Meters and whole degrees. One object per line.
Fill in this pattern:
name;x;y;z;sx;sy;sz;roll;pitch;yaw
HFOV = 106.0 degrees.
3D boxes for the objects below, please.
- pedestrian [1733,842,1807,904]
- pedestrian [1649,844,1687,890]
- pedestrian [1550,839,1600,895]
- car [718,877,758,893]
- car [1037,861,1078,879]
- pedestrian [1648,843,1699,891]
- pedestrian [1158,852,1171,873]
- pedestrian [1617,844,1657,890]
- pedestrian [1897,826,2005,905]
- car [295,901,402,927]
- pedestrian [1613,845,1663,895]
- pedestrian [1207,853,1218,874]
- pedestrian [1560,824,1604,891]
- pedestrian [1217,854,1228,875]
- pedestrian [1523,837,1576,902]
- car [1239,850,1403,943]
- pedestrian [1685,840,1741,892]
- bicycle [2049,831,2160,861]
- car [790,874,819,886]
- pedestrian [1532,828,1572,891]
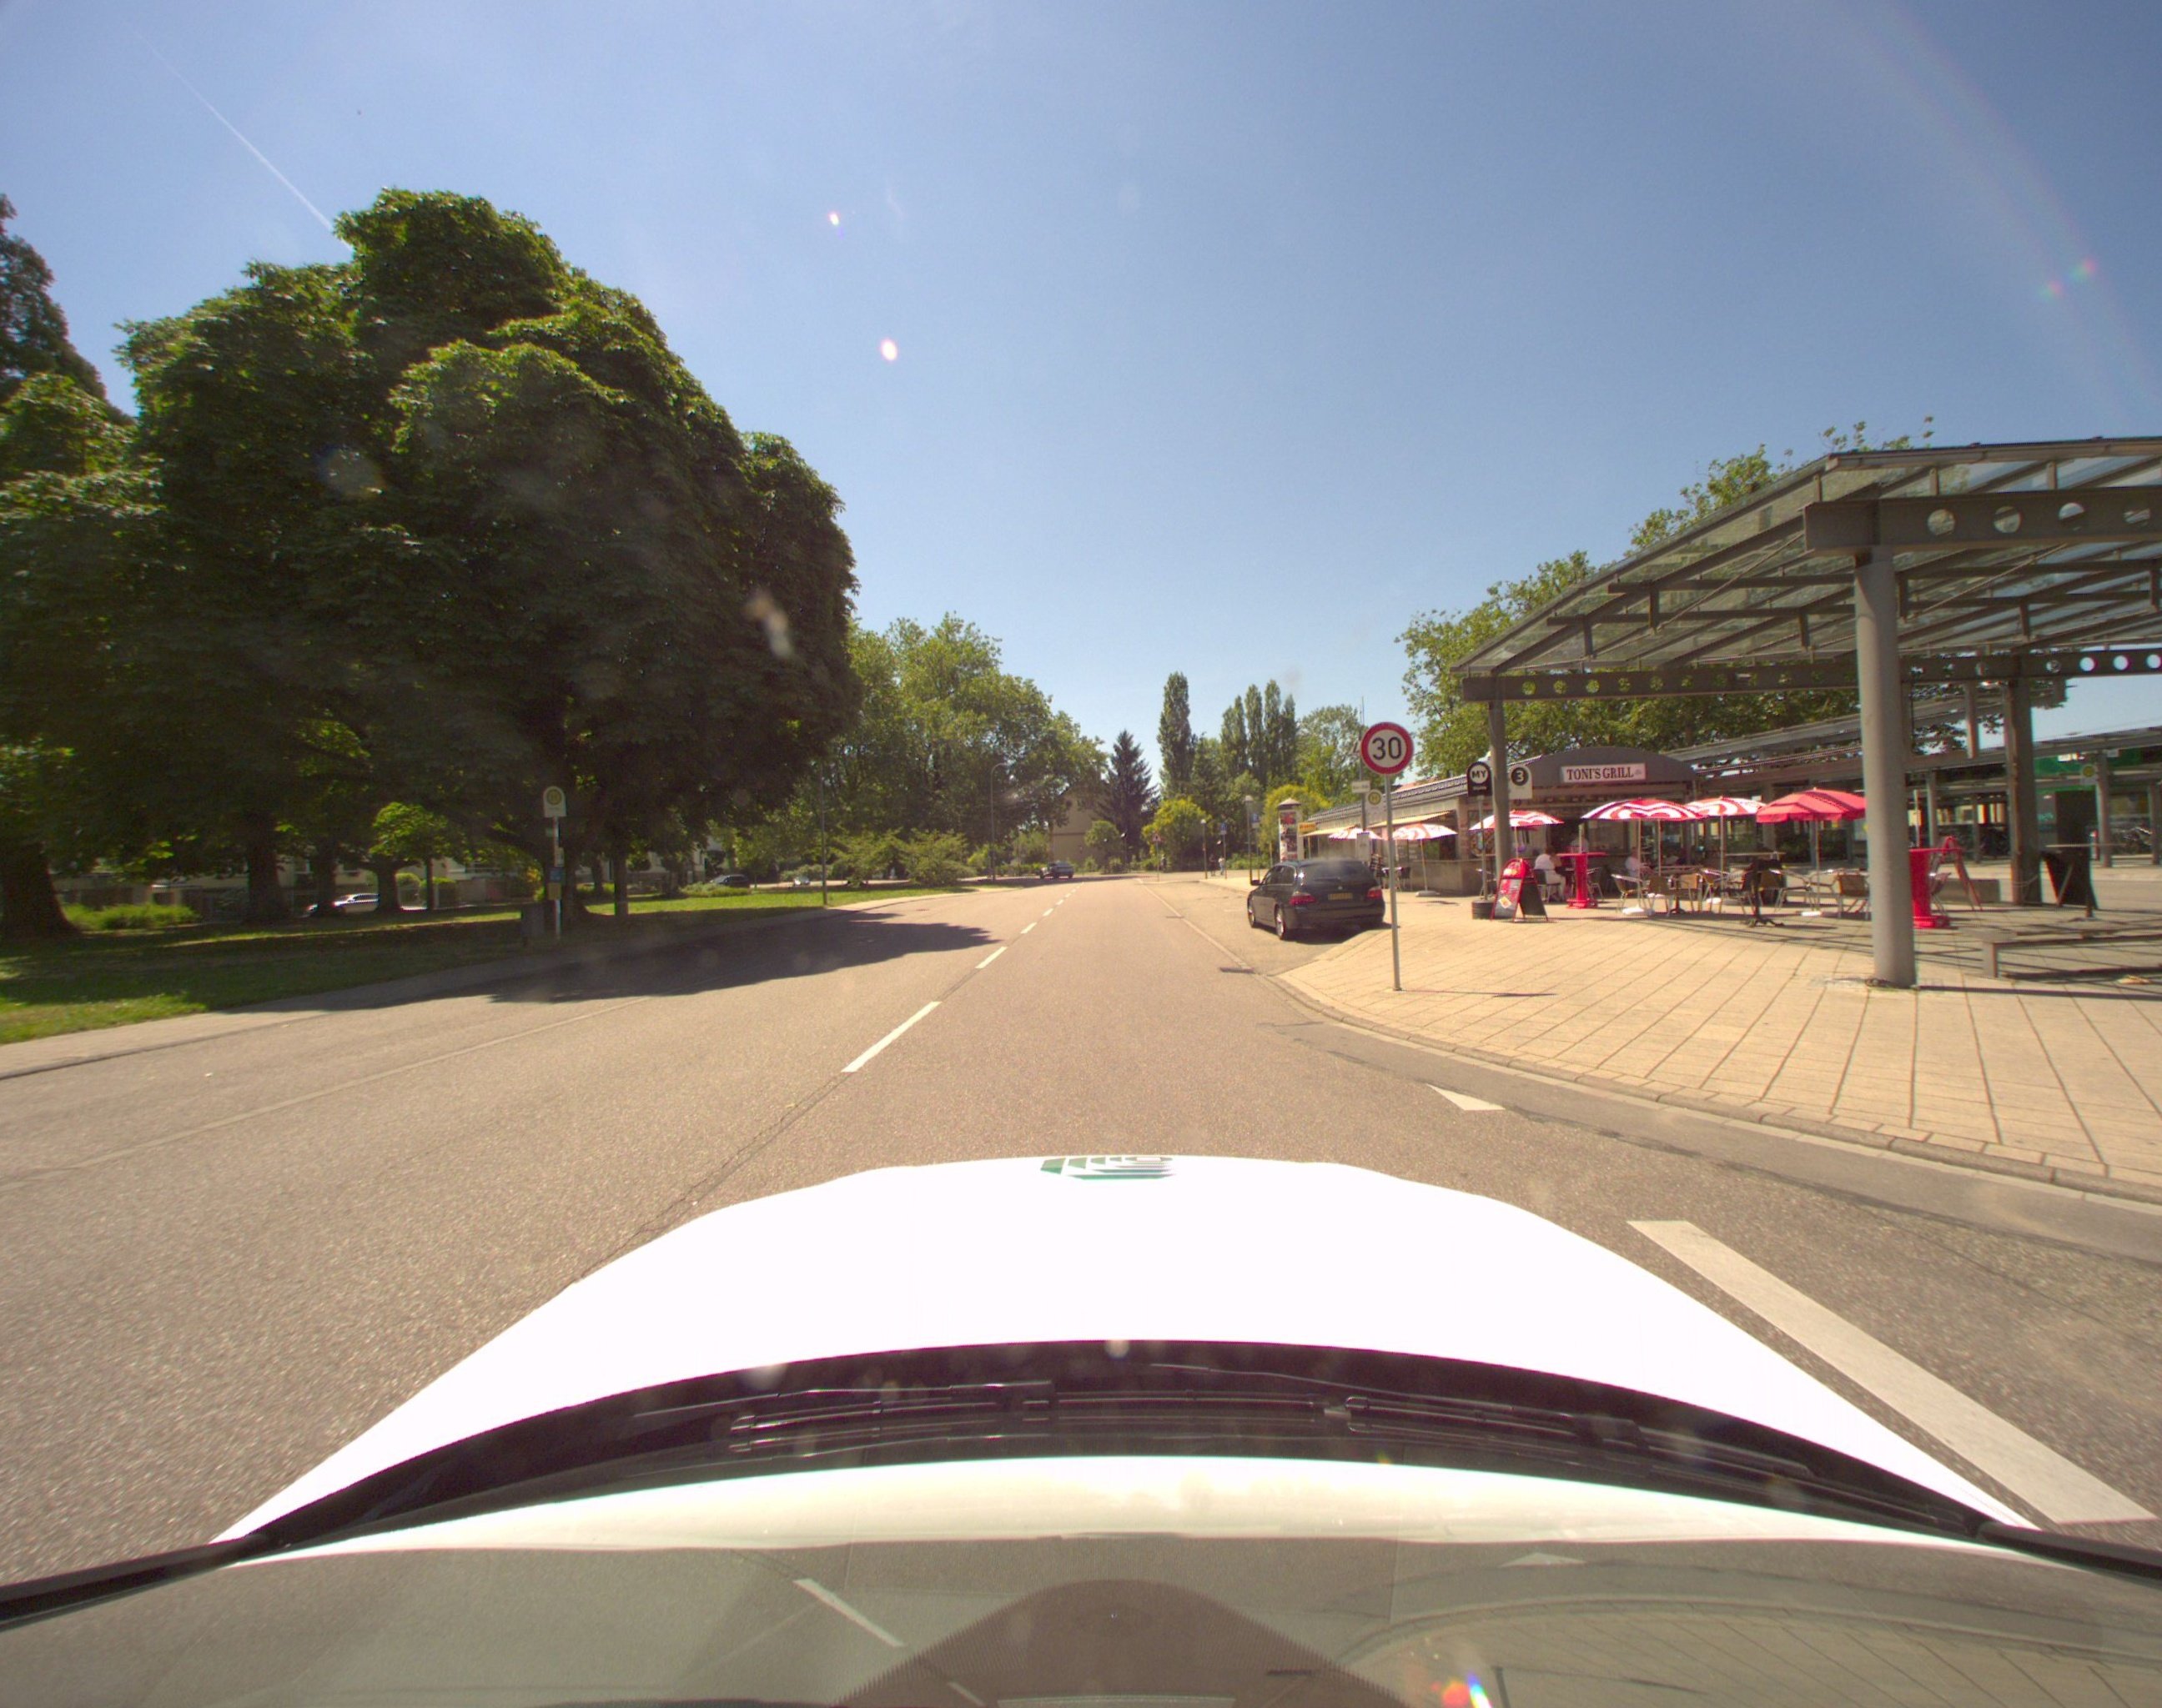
pedestrian;13.443;0.364;15.923;0.683;1.161;0.896;-2;-1;6
pedestrian;15.597;0.356;21.641;0.650;1.205;0.595;0;-2;17
pedestrian;12.075;0.315;19.919;0.898;1.312;0.681;-2;-1;-33
car;-33.921;3.050;80.550;1.538;1.410;3.819;-2;-1;17
car;-2.352;1.569;79.680;1.995;1.627;4.733;-2;0;-29
pedestrian;15.073;0.327;20.731;0.756;1.205;0.737;0;-1;2
pedestrian;8.083;0.832;78.936;0.846;1.965;0.811;-2;-1;31
pedestrian;14.782;0.357;21.667;0.652;1.205;0.592;0;-2;1
pedestrian;14.811;0.190;13.897;0.841;1.277;0.896;-2;-1;6
car;-48.616;3.937;54.188;1.970;1.349;4.910;-2;-1;19
pedestrian;13.531;0.388;19.784;0.898;1.161;0.681;-2;-1;-33
pedestrian;10.802;0.798;66.780;0.629;1.650;0.755;-2;-3;30
pedestrian;13.387;0.084;21.785;0.684;1.738;0.707;-2;-1;2
pedestrian;11.880;0.888;68.308;0.713;1.650;0.755;-2;-3;30
pedestrian;10.571;0.341;18.361;0.899;1.418;0.681;-2;-1;-36
car;4.619;0.764;16.500;1.920;1.460;4.726;-5;-1;1
pedestrian;15.081;0.289;19.462;0.756;1.205;0.737;0;-1;2
bicycle;34.907;-0.278;27.790;2.778;1.004;0.811;0;-1;-1
car;-31.712;2.963;93.453;1.809;1.310;3.992;-2;-1;3
pedestrian;13.435;0.154;23.246;0.684;1.738;0.707;-2;-1;2
